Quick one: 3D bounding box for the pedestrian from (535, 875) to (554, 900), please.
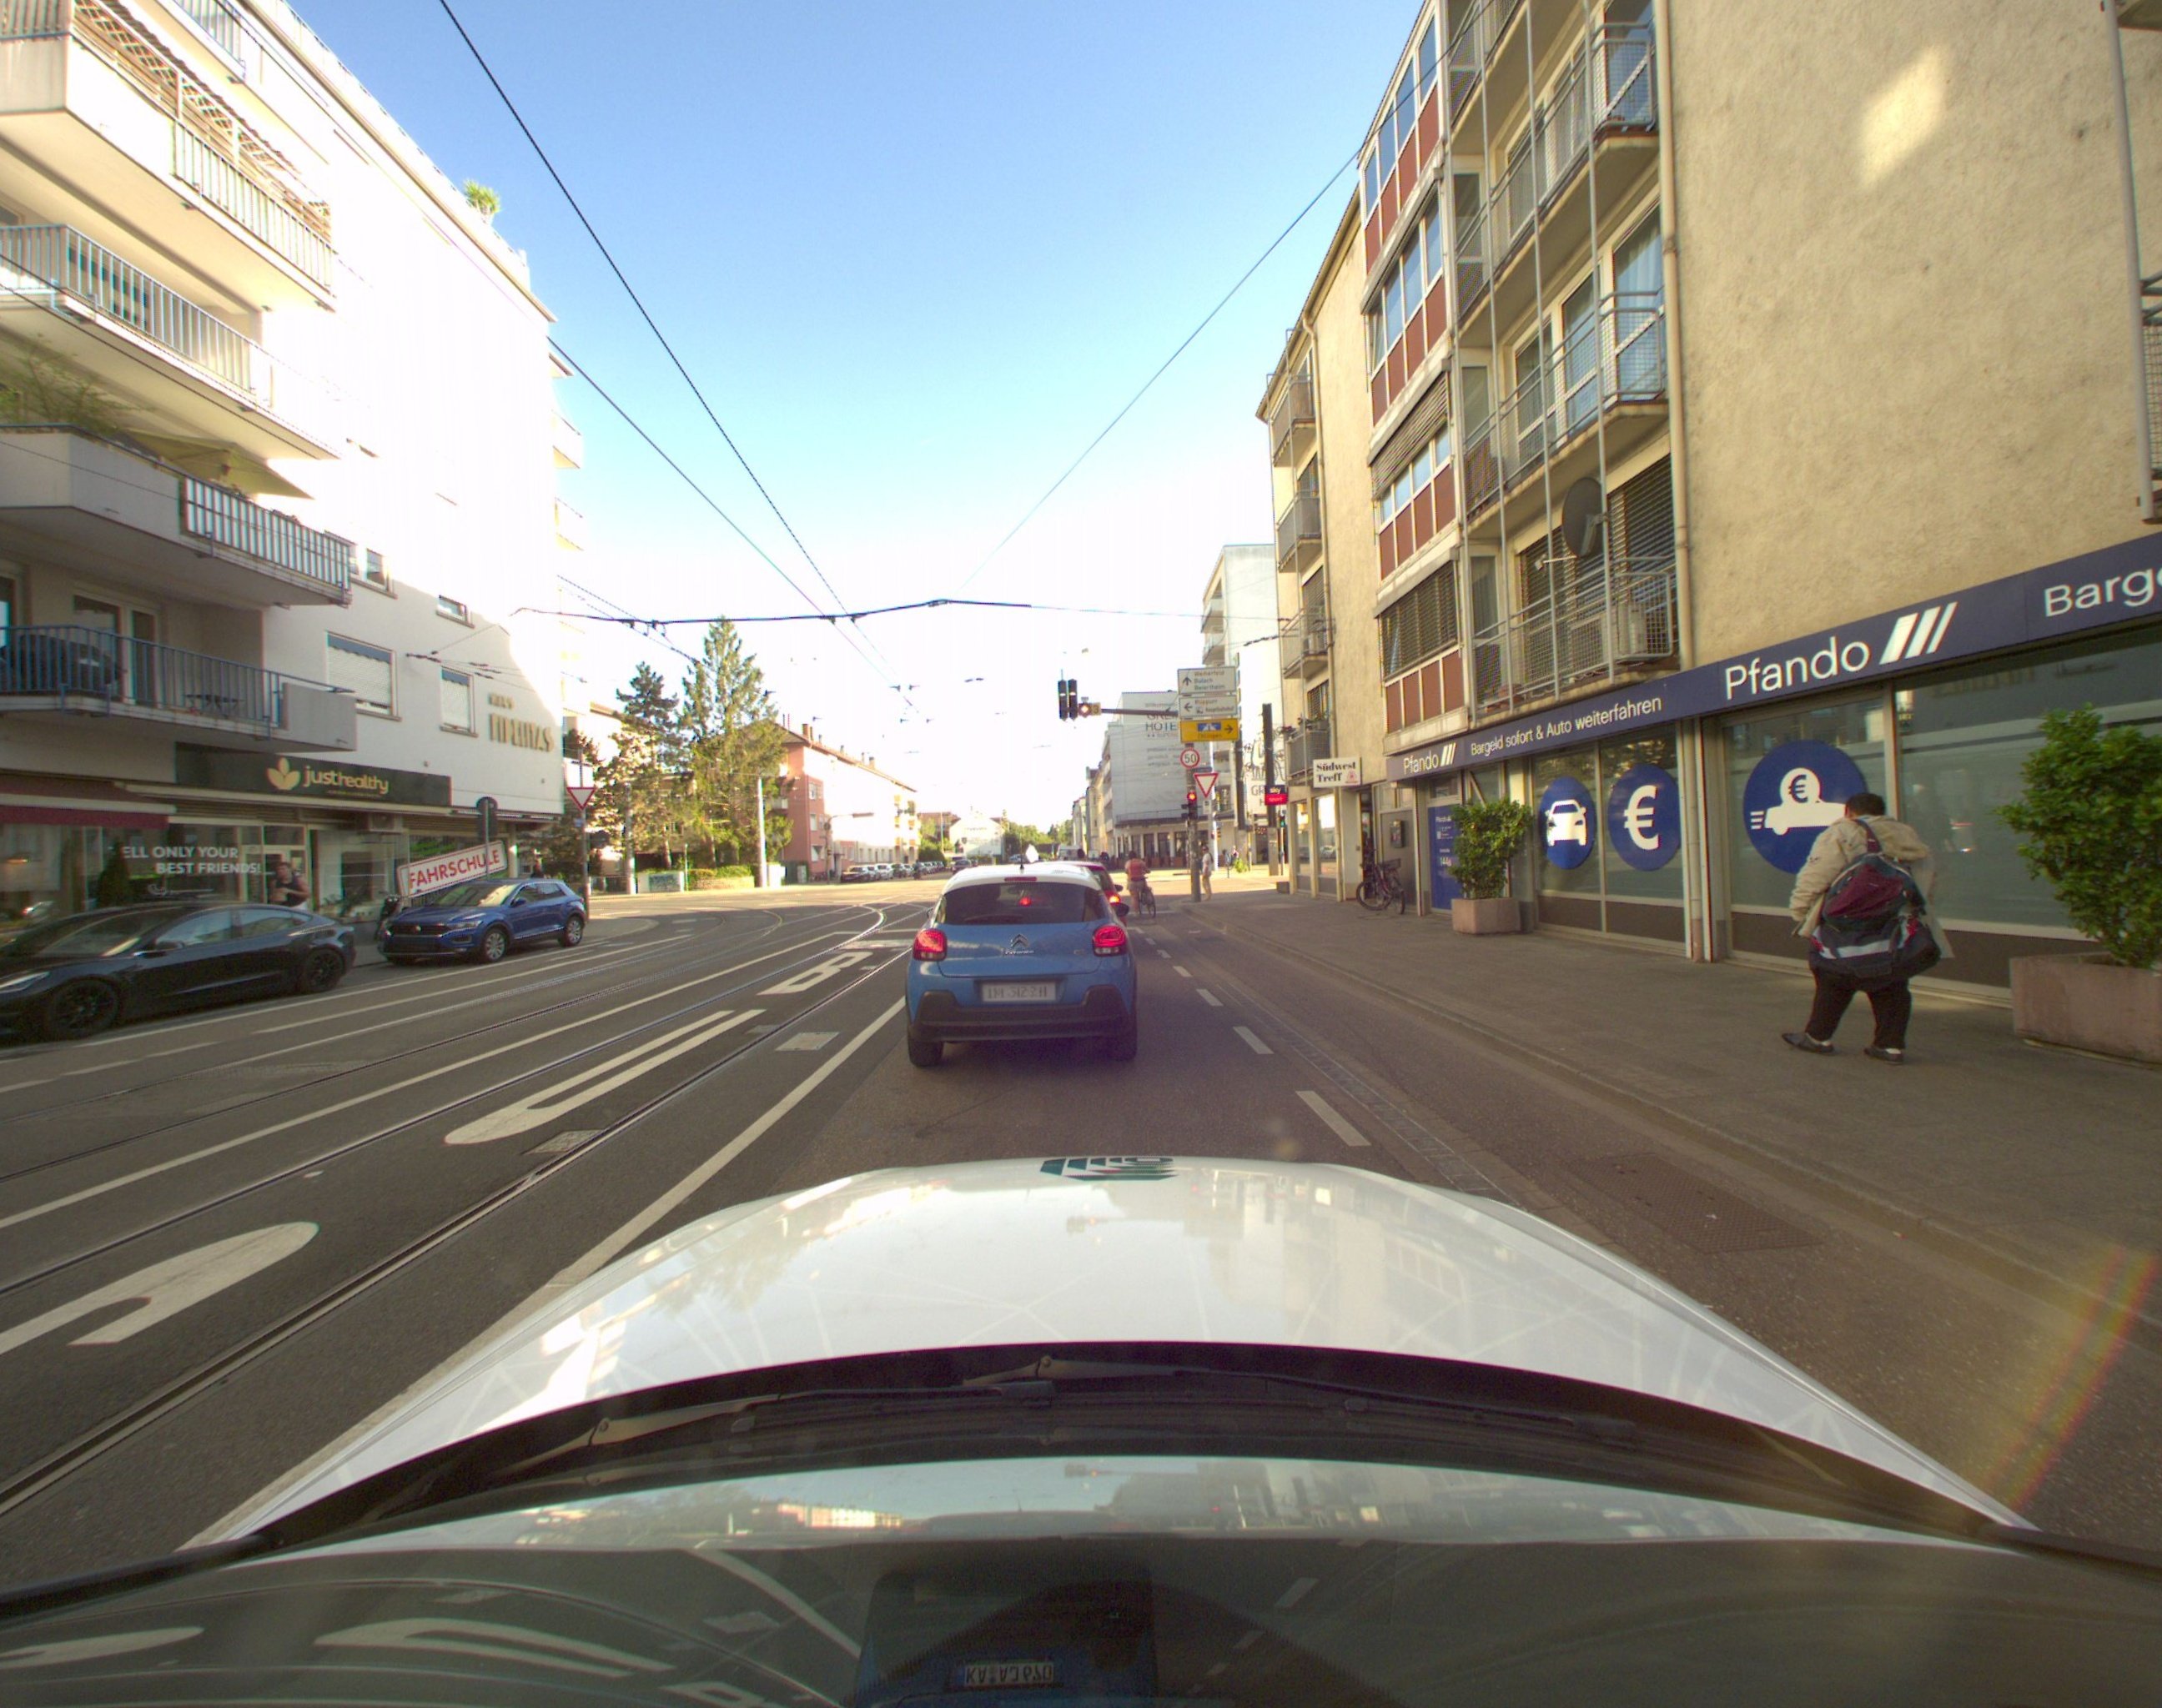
[{"bbox_3d":[-36.727,2.292,55.779,0.805,1.702,0.681,-2,0,1],"label":"pedestrian"}]

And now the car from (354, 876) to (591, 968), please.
[{"bbox_3d":[-11.876,1.244,16.307,1.720,1.505,4.113,0,0,-2],"label":"car"}]

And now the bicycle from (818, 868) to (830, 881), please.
[{"bbox_3d":[-23.044,1.844,73.089,0.536,1.082,1.908,-2,0,-4],"label":"bicycle"}]

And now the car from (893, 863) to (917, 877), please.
[{"bbox_3d":[-19.974,1.793,92.578,1.947,1.519,3.995,-2,0,-4],"label":"car"}]

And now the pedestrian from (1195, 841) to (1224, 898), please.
[{"bbox_3d":[3.833,0.455,24.331,0.747,1.635,0.742,-2,0,7],"label":"pedestrian"}]

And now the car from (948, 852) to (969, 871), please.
[{"bbox_3d":[-18.117,1.107,120.558,2.489,2.712,5.828,-2,0,-5],"label":"car"}]

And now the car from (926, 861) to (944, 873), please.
[{"bbox_3d":[-20.716,1.855,115.666,1.947,1.519,3.995,-2,0,-4],"label":"car"}]

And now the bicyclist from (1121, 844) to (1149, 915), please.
[{"bbox_3d":[1.371,0.633,20.674,0.598,1.746,1.084,-2,0,2],"label":"bicyclist"}]

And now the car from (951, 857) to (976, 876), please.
[{"bbox_3d":[-11.221,1.154,78.373,2.002,1.627,5.044,-2,0,-5],"label":"car"}]

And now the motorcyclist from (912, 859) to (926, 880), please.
[{"bbox_3d":[-13.468,1.271,67.676,0.990,1.631,0.737,-2,0,-7],"label":"motorcyclist"}]

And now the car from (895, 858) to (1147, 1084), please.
[{"bbox_3d":[-0.451,0.791,7.480,1.675,1.462,3.997,-1,0,-2],"label":"car"}]

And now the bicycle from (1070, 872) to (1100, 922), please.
[{"bbox_3d":[0.079,1.023,19.847,0.615,1.103,1.884,-2,0,-2],"label":"bicycle"}]

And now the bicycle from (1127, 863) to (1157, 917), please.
[{"bbox_3d":[1.535,0.887,20.708,0.611,1.264,1.911,-2,0,2],"label":"bicycle"}]

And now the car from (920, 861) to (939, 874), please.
[{"bbox_3d":[-20.289,1.776,109.310,1.947,1.519,3.995,-2,0,-4],"label":"car"}]

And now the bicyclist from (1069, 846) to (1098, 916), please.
[{"bbox_3d":[0.049,0.647,19.745,0.615,1.630,0.759,-2,0,-2],"label":"bicyclist"}]

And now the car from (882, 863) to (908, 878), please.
[{"bbox_3d":[-19.722,1.742,86.511,1.947,1.519,3.995,-2,0,-4],"label":"car"}]

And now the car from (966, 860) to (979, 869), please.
[{"bbox_3d":[-19.326,1.820,145.227,1.947,1.519,3.995,-2,0,-4],"label":"car"}]

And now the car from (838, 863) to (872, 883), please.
[{"bbox_3d":[-19.284,1.602,69.602,1.947,1.519,3.995,-2,0,-4],"label":"car"}]

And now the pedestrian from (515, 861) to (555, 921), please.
[{"bbox_3d":[-17.307,1.172,25.831,0.761,1.834,0.725,-3,0,28],"label":"pedestrian"}]

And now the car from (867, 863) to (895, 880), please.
[{"bbox_3d":[-19.553,1.686,79.838,1.947,1.519,3.995,-2,0,-4],"label":"car"}]

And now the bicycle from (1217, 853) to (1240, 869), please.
[{"bbox_3d":[10.738,0.518,59.210,1.474,1.091,0.609,-3,0,30],"label":"bicycle"}]

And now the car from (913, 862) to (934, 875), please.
[{"bbox_3d":[-20.089,1.803,104.021,1.947,1.519,3.995,-2,0,-4],"label":"car"}]

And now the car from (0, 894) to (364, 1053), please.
[{"bbox_3d":[-11.982,1.331,10.404,1.720,1.403,4.486,0,0,-2],"label":"car"}]

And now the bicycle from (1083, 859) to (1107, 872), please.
[{"bbox_3d":[1.166,0.955,68.425,1.901,1.064,0.641,-2,0,-6],"label":"bicycle"}]

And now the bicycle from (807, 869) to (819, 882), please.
[{"bbox_3d":[-22.374,1.795,68.060,0.640,1.082,1.905,-2,0,-9],"label":"bicycle"}]

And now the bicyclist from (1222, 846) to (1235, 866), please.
[{"bbox_3d":[10.717,0.167,59.253,0.720,1.434,0.609,-3,0,30],"label":"bicyclist"}]

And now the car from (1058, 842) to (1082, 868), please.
[{"bbox_3d":[-1.032,0.088,73.429,2.074,2.269,5.647,-1,0,-2],"label":"car"}]

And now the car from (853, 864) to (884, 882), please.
[{"bbox_3d":[-19.565,1.720,75.226,1.947,1.519,4.040,-2,0,-4],"label":"car"}]

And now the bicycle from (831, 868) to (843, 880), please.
[{"bbox_3d":[-22.710,1.862,75.785,0.608,1.082,1.908,-2,0,-4],"label":"bicycle"}]

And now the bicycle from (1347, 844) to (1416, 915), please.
[{"bbox_3d":[5.761,0.457,15.720,0.637,1.264,1.911,-2,0,2],"label":"bicycle"}]

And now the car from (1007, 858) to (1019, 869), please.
[{"bbox_3d":[-14.253,1.984,171.393,2.333,2.039,5.044,-2,0,-4],"label":"car"}]

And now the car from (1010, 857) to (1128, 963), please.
[{"bbox_3d":[-0.224,0.810,13.689,1.675,1.462,3.997,-1,0,-2],"label":"car"}]

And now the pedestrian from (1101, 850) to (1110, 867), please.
[{"bbox_3d":[2.109,0.398,70.360,0.520,1.420,0.550,-3,0,22],"label":"pedestrian"}]

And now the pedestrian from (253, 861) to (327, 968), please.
[{"bbox_3d":[-14.264,1.077,14.695,0.744,1.857,0.675,-3,0,23],"label":"pedestrian"}]

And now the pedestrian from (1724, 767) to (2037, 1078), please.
[{"bbox_3d":[4.551,0.356,4.719,0.871,1.571,0.868,-4,0,-1],"label":"pedestrian"}]

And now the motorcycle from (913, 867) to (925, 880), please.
[{"bbox_3d":[-13.478,1.599,67.743,0.751,0.976,2.092,-2,0,-7],"label":"motorcycle"}]

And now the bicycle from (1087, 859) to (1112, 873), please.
[{"bbox_3d":[1.531,0.963,67.223,1.901,1.064,0.641,-2,0,-6],"label":"bicycle"}]

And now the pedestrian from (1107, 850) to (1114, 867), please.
[{"bbox_3d":[2.529,0.382,70.099,0.467,1.420,0.524,-2,0,-11],"label":"pedestrian"}]

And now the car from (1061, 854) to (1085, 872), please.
[{"bbox_3d":[-0.710,0.744,67.967,1.783,1.359,3.909,-2,0,-4],"label":"car"}]

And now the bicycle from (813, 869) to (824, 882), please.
[{"bbox_3d":[-21.968,1.796,68.170,0.537,1.082,1.905,-2,0,-9],"label":"bicycle"}]

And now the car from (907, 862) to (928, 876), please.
[{"bbox_3d":[-19.844,1.788,99.008,1.947,1.519,3.995,-2,0,-4],"label":"car"}]

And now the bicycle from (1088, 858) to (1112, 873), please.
[{"bbox_3d":[1.522,0.932,65.916,1.901,1.064,0.641,-2,0,-6],"label":"bicycle"}]
